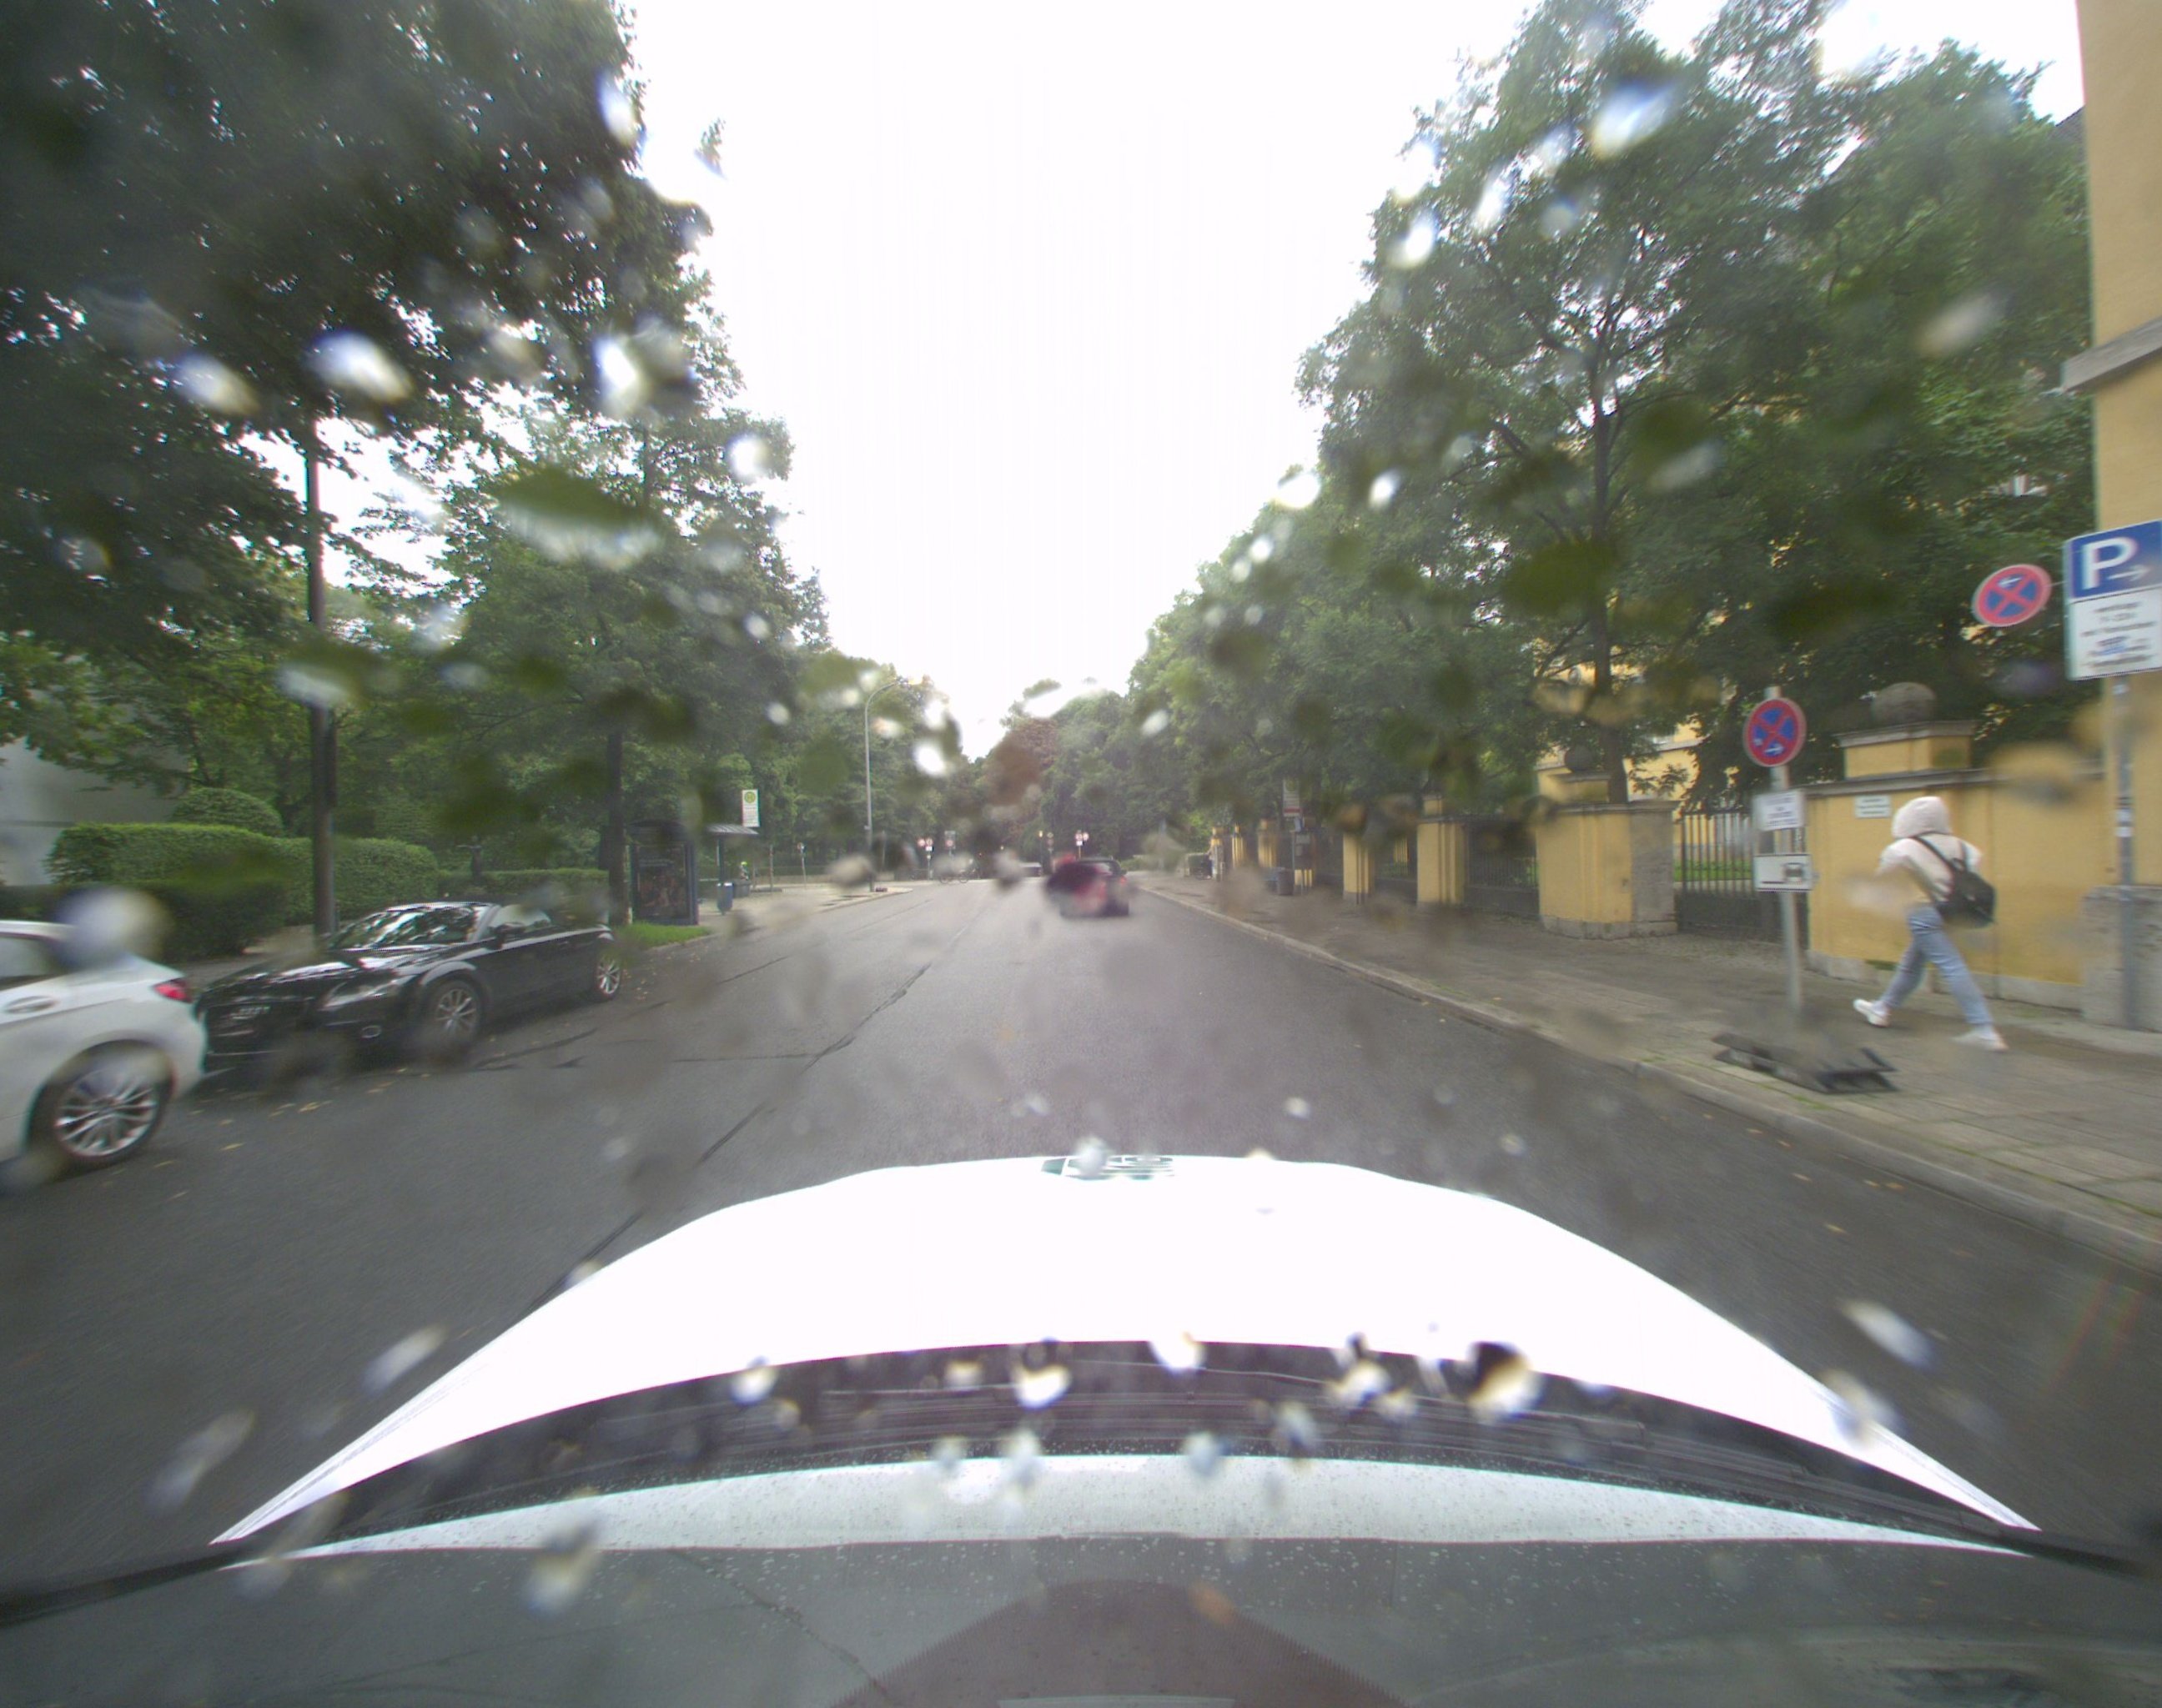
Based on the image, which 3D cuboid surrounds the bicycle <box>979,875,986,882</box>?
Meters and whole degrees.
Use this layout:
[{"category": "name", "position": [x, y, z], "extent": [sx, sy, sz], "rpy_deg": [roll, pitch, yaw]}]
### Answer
[{"category": "bicycle", "position": [-12.252, 2.995, 101.359], "extent": [0.680, 0.830, 2.100], "rpy_deg": [-2, -1, -14]}]

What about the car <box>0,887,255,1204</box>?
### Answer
[{"category": "car", "position": [-6.037, 0.984, 3.123], "extent": [1.574, 1.497, 4.194], "rpy_deg": [-2, 0, -4]}]

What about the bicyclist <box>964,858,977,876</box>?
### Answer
[{"category": "bicyclist", "position": [-8.211, 0.957, 60.428], "extent": [0.675, 1.282, 0.602], "rpy_deg": [-2, 0, 20]}]

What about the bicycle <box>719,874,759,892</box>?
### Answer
[{"category": "bicycle", "position": [-20.474, 1.744, 48.817], "extent": [2.116, 0.991, 0.675], "rpy_deg": [-2, -1, -30]}]

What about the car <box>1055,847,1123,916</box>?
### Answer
[{"category": "car", "position": [0.181, 0.669, 21.524], "extent": [1.572, 1.584, 4.043], "rpy_deg": [-2, 0, 0]}]

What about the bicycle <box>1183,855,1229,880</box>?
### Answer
[{"category": "bicycle", "position": [5.717, 0.627, 37.312], "extent": [1.906, 0.949, 0.580], "rpy_deg": [-5, -1, -10]}]

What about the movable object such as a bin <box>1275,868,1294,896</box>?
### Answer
[{"category": "movable object such as a bin", "position": [5.925, 0.813, 23.696], "extent": [0.395, 0.780, 0.465], "rpy_deg": [-2, 0, -1]}]

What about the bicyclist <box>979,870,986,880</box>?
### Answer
[{"category": "bicyclist", "position": [-12.280, 2.607, 101.378], "extent": [0.682, 1.187, 0.479], "rpy_deg": [-2, 0, -15]}]

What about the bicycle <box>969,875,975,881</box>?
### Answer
[{"category": "bicycle", "position": [-15.255, 3.359, 114.129], "extent": [0.680, 0.830, 2.101], "rpy_deg": [-2, -1, -12]}]

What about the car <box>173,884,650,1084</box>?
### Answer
[{"category": "car", "position": [-6.273, 1.083, 8.361], "extent": [1.573, 1.343, 4.041], "rpy_deg": [-2, 0, -2]}]

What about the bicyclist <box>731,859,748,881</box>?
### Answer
[{"category": "bicyclist", "position": [-20.463, 0.973, 48.854], "extent": [0.857, 1.257, 0.520], "rpy_deg": [-2, -1, -30]}]

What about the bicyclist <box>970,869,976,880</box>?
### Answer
[{"category": "bicyclist", "position": [-15.150, 2.895, 114.188], "extent": [0.681, 1.504, 0.897], "rpy_deg": [-2, 0, -12]}]

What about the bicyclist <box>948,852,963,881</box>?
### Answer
[{"category": "bicyclist", "position": [-7.201, 0.724, 46.758], "extent": [0.750, 1.585, 0.653], "rpy_deg": [-2, -1, -10]}]

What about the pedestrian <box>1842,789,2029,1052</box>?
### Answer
[{"category": "pedestrian", "position": [5.719, 0.421, 5.481], "extent": [0.559, 1.637, 0.570], "rpy_deg": [-4, 0, -4]}]

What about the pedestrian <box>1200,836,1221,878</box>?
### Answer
[{"category": "pedestrian", "position": [6.064, 0.144, 38.113], "extent": [0.674, 1.918, 0.638], "rpy_deg": [-4, -1, -11]}]

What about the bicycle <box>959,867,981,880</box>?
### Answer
[{"category": "bicycle", "position": [-8.196, 1.439, 60.418], "extent": [0.674, 0.830, 2.120], "rpy_deg": [-3, -1, 20]}]

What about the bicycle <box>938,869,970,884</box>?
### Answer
[{"category": "bicycle", "position": [-7.276, 1.307, 46.725], "extent": [1.763, 0.796, 0.568], "rpy_deg": [-2, -1, -10]}]
